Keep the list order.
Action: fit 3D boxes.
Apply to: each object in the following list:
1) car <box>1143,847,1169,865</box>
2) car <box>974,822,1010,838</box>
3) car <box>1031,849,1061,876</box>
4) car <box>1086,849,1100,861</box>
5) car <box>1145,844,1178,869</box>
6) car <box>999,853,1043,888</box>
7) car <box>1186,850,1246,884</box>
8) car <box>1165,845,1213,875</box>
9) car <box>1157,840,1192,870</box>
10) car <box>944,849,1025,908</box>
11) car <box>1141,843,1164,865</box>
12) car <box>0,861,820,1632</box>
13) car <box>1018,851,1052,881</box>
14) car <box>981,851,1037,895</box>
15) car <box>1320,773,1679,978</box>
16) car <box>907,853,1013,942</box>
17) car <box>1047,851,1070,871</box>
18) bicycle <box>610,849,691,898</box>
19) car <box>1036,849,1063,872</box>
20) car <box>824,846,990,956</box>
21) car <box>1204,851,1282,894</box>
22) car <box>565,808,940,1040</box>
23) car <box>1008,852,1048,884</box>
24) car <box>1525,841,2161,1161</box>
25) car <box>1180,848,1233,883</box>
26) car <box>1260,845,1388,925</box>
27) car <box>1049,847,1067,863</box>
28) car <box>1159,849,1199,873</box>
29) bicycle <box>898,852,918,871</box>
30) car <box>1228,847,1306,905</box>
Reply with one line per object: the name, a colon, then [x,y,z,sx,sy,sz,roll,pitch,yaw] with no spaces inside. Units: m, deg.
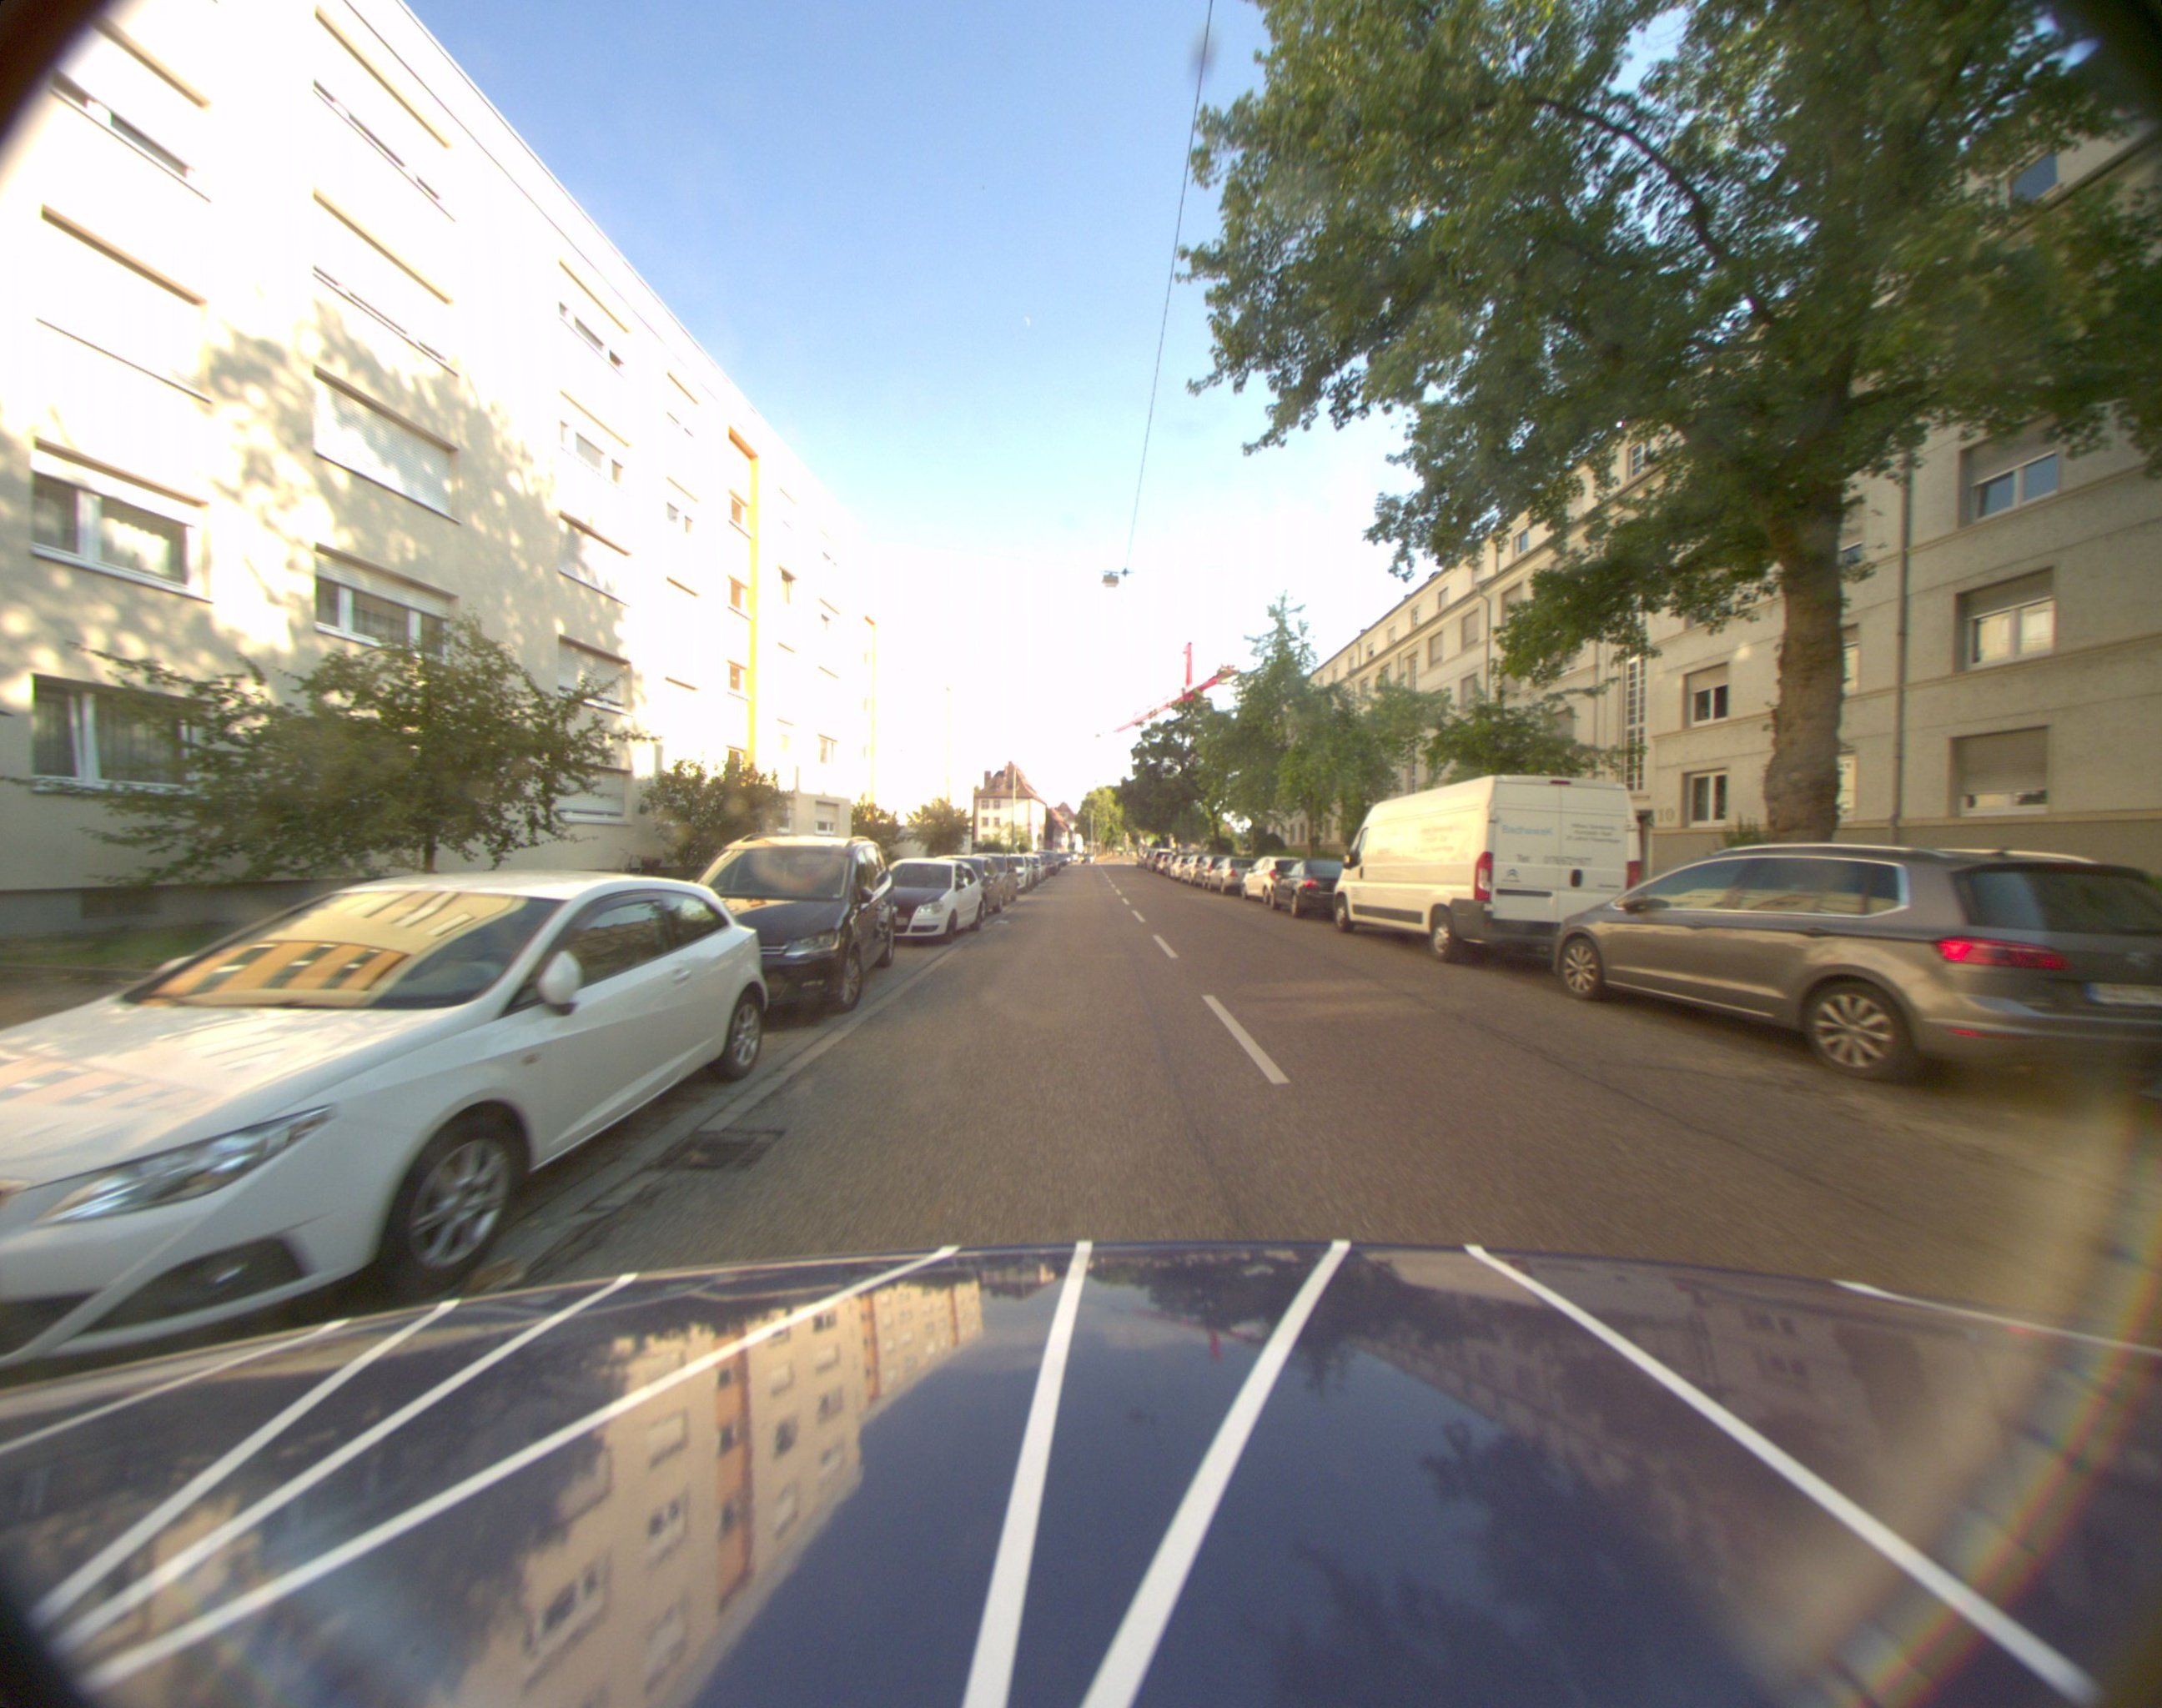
car: [7.021,0.137,71.118,1.878,1.543,3.998,-2,2,-1]
car: [-10.598,-2.908,90.789,3.996,1.784,2.000,-2,2,1]
car: [-2.336,0.536,52.319,1.776,1.668,4.645,-1,2,1]
car: [1.554,0.092,99.316,1.775,1.492,3.673,0,0,0]
car: [6.332,0.165,60.204,1.878,1.749,4.687,-3,2,-2]
car: [-2.775,0.725,36.089,1.665,1.430,4.312,-2,2,1]
car: [6.051,0.544,34.472,1.878,1.348,3.998,-2,2,-1]
car: [6.193,0.303,44.071,2.009,1.543,4.470,-2,2,-1]
car: [6.731,0.047,54.944,1.998,2.002,3.999,2,2,1]
car: [-3.018,0.718,24.697,1.967,1.596,4.278,3,2,1]
car: [7.122,-0.048,76.025,1.846,1.886,4.486,-6,1,2]
car: [-3.022,0.842,3.922,1.683,1.407,4.722,1,2,0]
car: [-2.790,0.689,47.116,1.776,1.607,3.999,-2,2,1]
car: [-2.853,0.715,30.776,1.878,1.434,3.998,4,1,-1]
car: [5.976,0.175,12.202,2.364,2.432,6.163,1,2,1]
car: [-2.920,0.979,19.186,1.842,1.762,3.977,5,2,1]
car: [-1.868,0.561,64.043,1.803,1.498,4.620,0,2,-1]
bicycle: [-10.875,0.461,19.311,0.494,1.107,2.394,4,2,4]
car: [-2.326,0.442,56.812,1.776,1.499,3.999,-2,2,0]
car: [-2.942,0.707,13.839,1.841,1.493,4.171,5,2,2]
car: [6.091,0.642,29.153,1.878,1.348,4.651,-2,2,-1]
car: [-3.159,0.573,8.659,2.029,1.739,4.766,5,0,0]
car: [-2.804,0.705,41.105,1.776,1.445,3.999,-5,2,0]
car: [5.765,0.723,5.965,1.962,1.549,4.345,2,2,0]
car: [6.322,0.523,38.599,1.878,1.543,3.998,-3,2,-2]
car: [5.768,0.657,18.540,1.712,1.565,3.817,4,2,-2]
car: [-2.479,0.067,82.393,1.891,1.553,4.944,0,2,-2]
car: [6.431,0.452,50.338,1.878,1.426,4.802,0,2,-1]
bicycle: [-9.326,0.408,41.052,0.438,0.936,1.791,-2,2,6]
car: [5.851,0.629,24.254,1.711,1.565,3.261,6,1,3]
